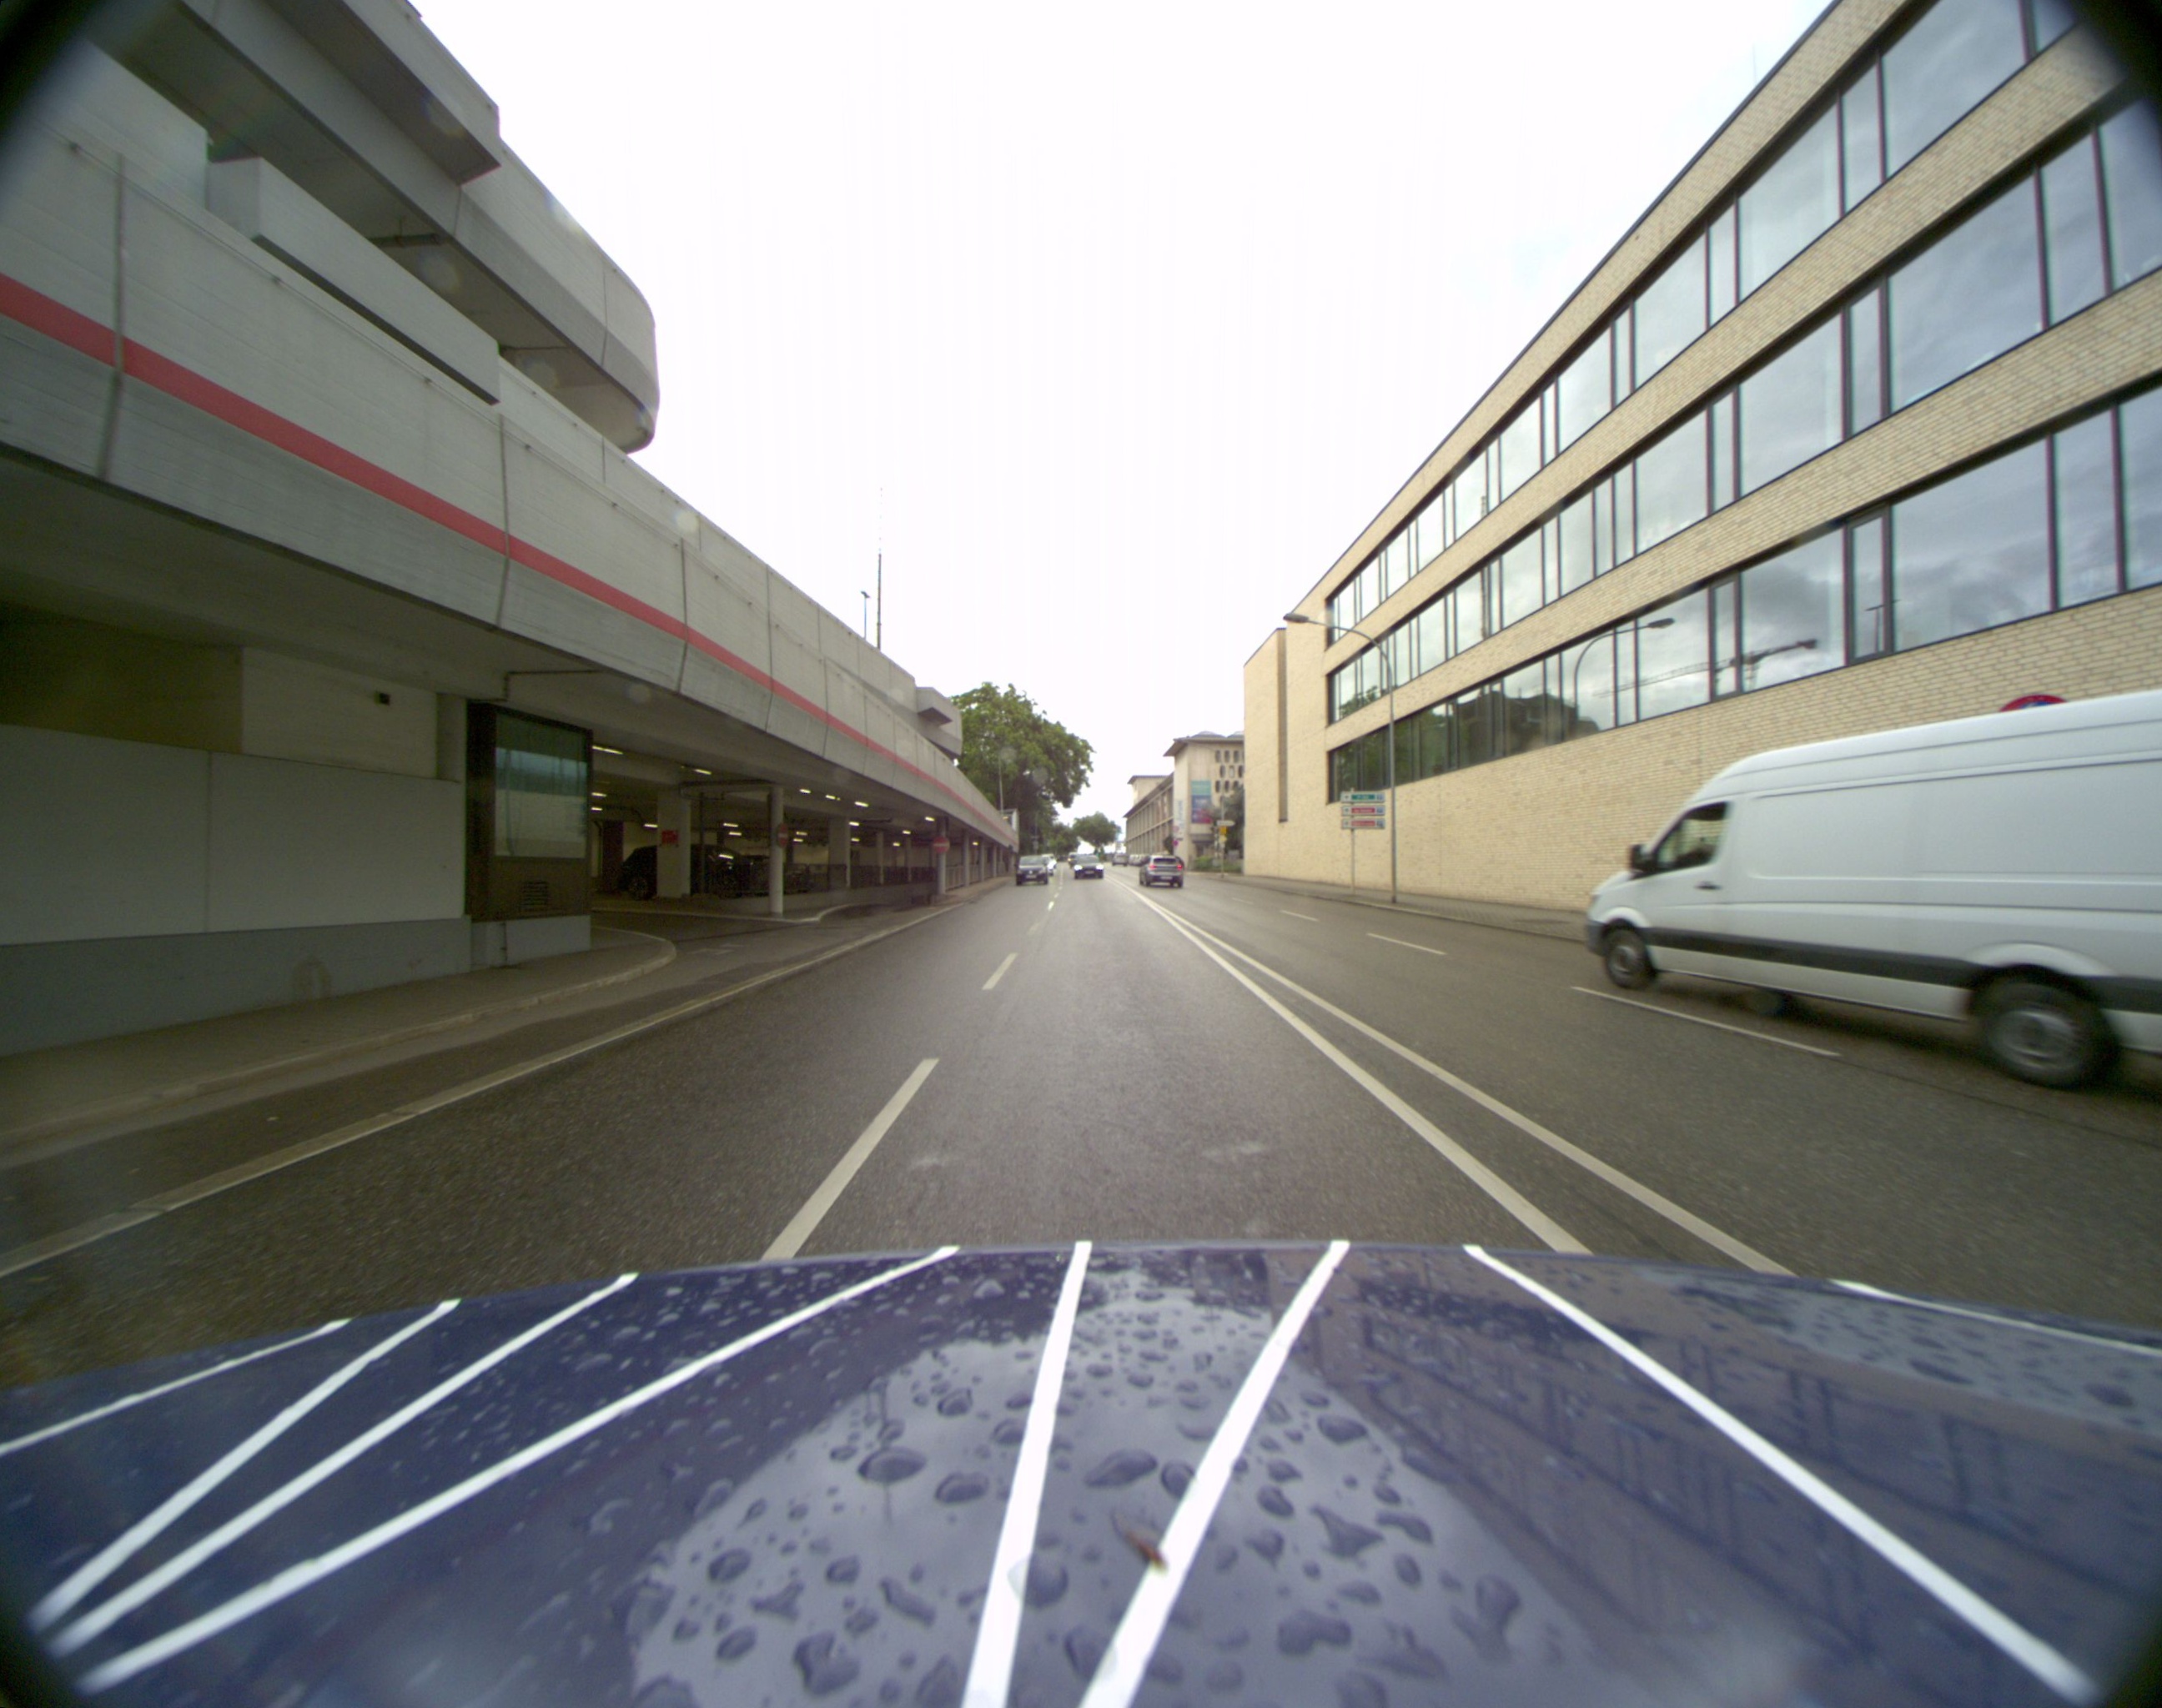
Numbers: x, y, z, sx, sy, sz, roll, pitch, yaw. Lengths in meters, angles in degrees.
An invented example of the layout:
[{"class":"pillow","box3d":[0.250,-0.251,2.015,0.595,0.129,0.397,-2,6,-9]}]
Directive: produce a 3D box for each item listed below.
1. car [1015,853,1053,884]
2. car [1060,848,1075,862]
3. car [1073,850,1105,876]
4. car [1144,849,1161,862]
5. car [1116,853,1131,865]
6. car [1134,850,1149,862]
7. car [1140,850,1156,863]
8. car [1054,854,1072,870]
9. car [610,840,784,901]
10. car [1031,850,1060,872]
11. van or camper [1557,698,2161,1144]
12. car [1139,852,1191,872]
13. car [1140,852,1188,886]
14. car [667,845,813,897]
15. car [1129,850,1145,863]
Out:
[{"class":"car","box3d":[-2.447,0.757,40.418,1.683,1.516,3.990,-2,0,1]},{"class":"car","box3d":[-1.994,0.157,113.787,1.998,2.002,3.999,-2,1,0]},{"class":"car","box3d":[0.518,0.556,47.760,1.852,1.516,3.990,-2,0,1]},{"class":"car","box3d":[8.869,0.219,94.643,1.800,1.516,4.056,-2,0,1]},{"class":"car","box3d":[5.704,0.690,102.909,1.800,1.516,4.056,-2,0,1]},{"class":"car","box3d":[8.418,0.253,105.530,1.800,1.516,4.056,-2,0,1]},{"class":"car","box3d":[8.758,0.317,99.932,1.800,1.516,4.056,-2,0,1]},{"class":"car","box3d":[-1.998,0.881,84.982,1.727,1.628,3.999,-2,1,1]},{"class":"car","box3d":[-11.342,0.539,22.596,4.251,1.650,2.003,-1,-3,10]},{"class":"car","box3d":[-2.616,0.497,56.564,1.915,1.443,4.036,-2,1,0]},{"class":"van or camper","box3d":[7.218,0.383,6.721,2.107,2.567,5.906,1,1,-2]},{"class":"car","box3d":[7.132,0.665,64.945,3.989,1.652,1.865,-1,1,37]},{"class":"car","box3d":[3.887,0.678,35.992,1.745,1.462,3.881,1,1,-1]},{"class":"car","box3d":[-11.873,0.638,26.620,4.251,1.650,2.003,-1,-3,10]},{"class":"car","box3d":[8.592,0.303,116.690,1.998,1.819,3.999,-2,1,0]}]
